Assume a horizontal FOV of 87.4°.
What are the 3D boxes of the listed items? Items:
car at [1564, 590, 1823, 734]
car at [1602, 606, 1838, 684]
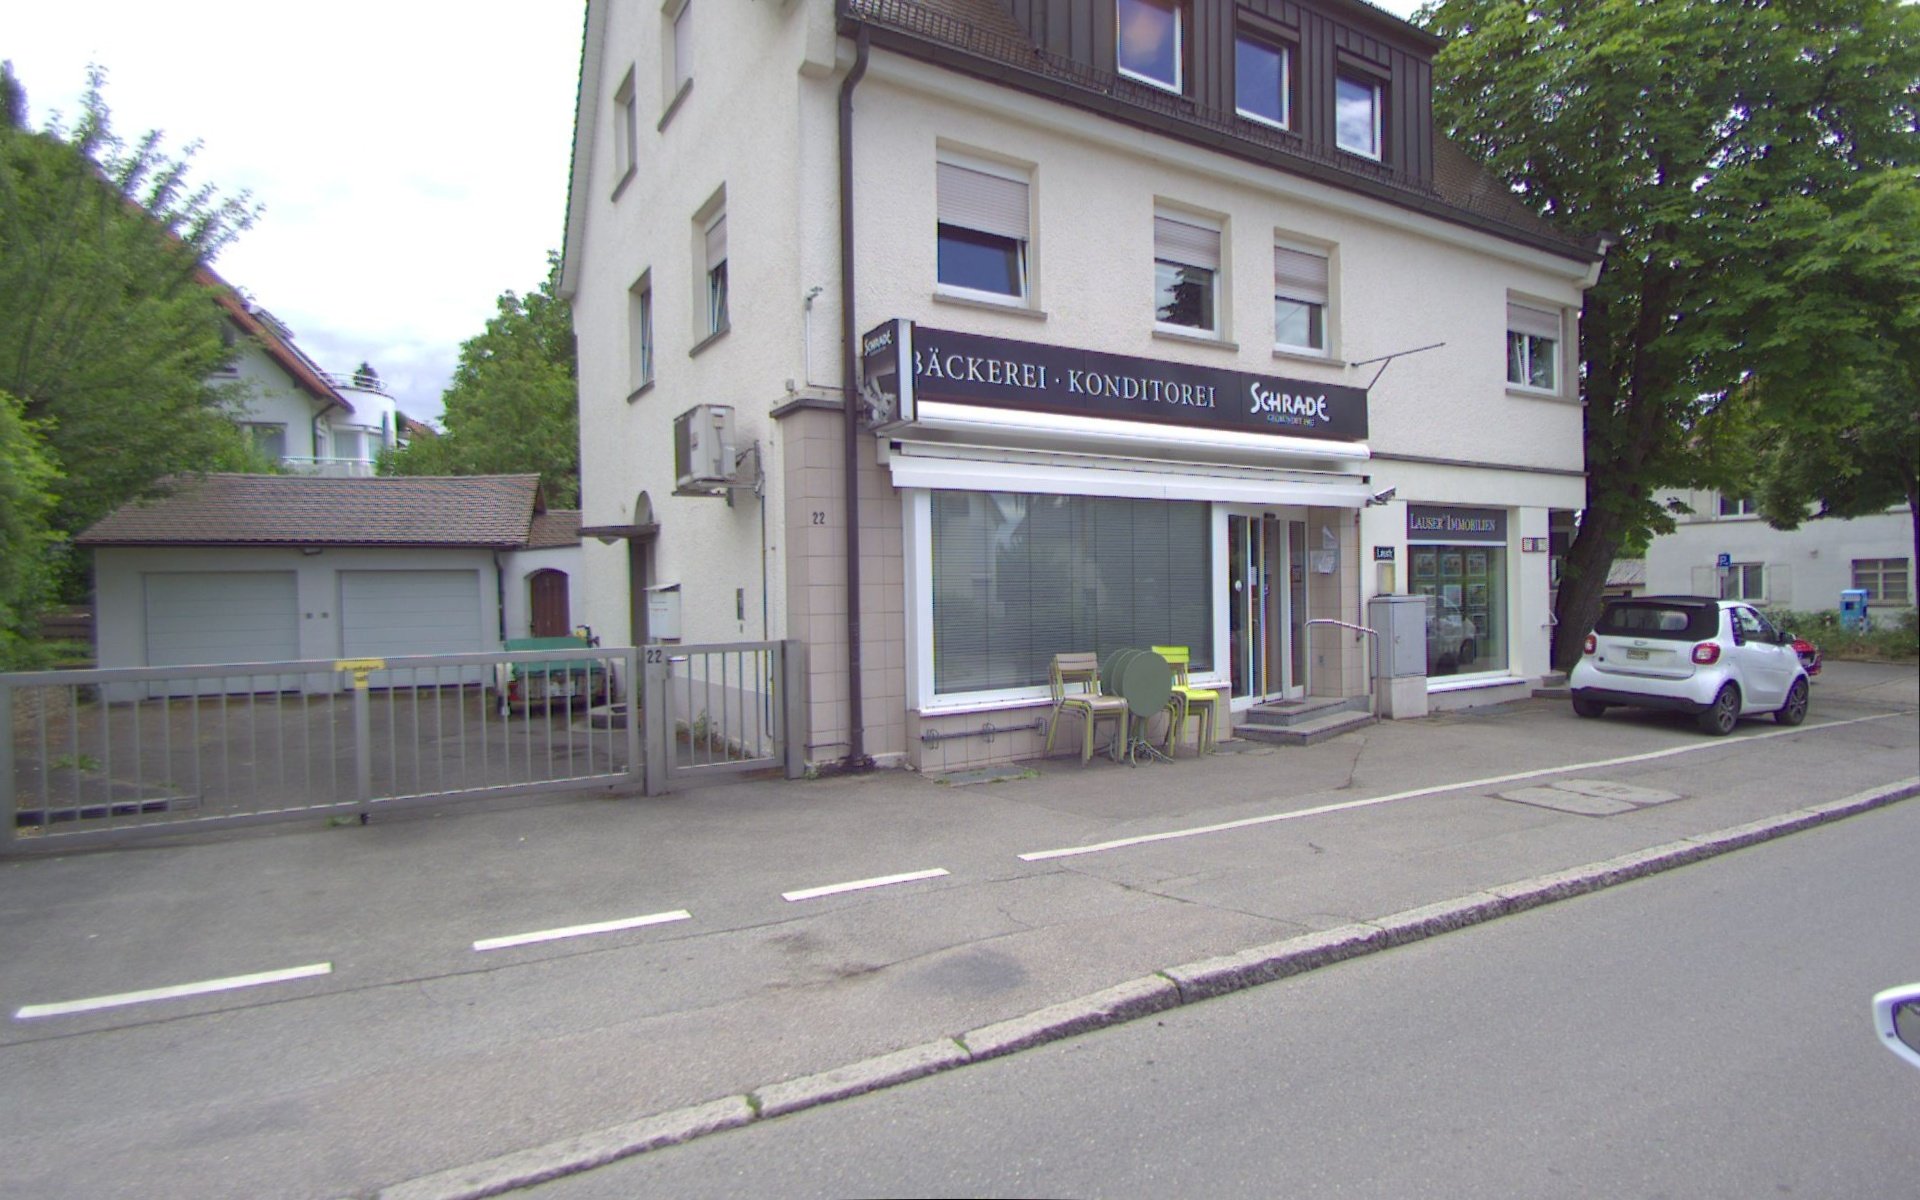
[{"bbox_3d":[9.238,0.693,12.641,2.889,1.559,1.580,0,2,-31],"label":"car"},{"bbox_3d":[16.677,0.917,22.353,1.782,1.451,4.230,-3,0,-5],"label":"car"}]
